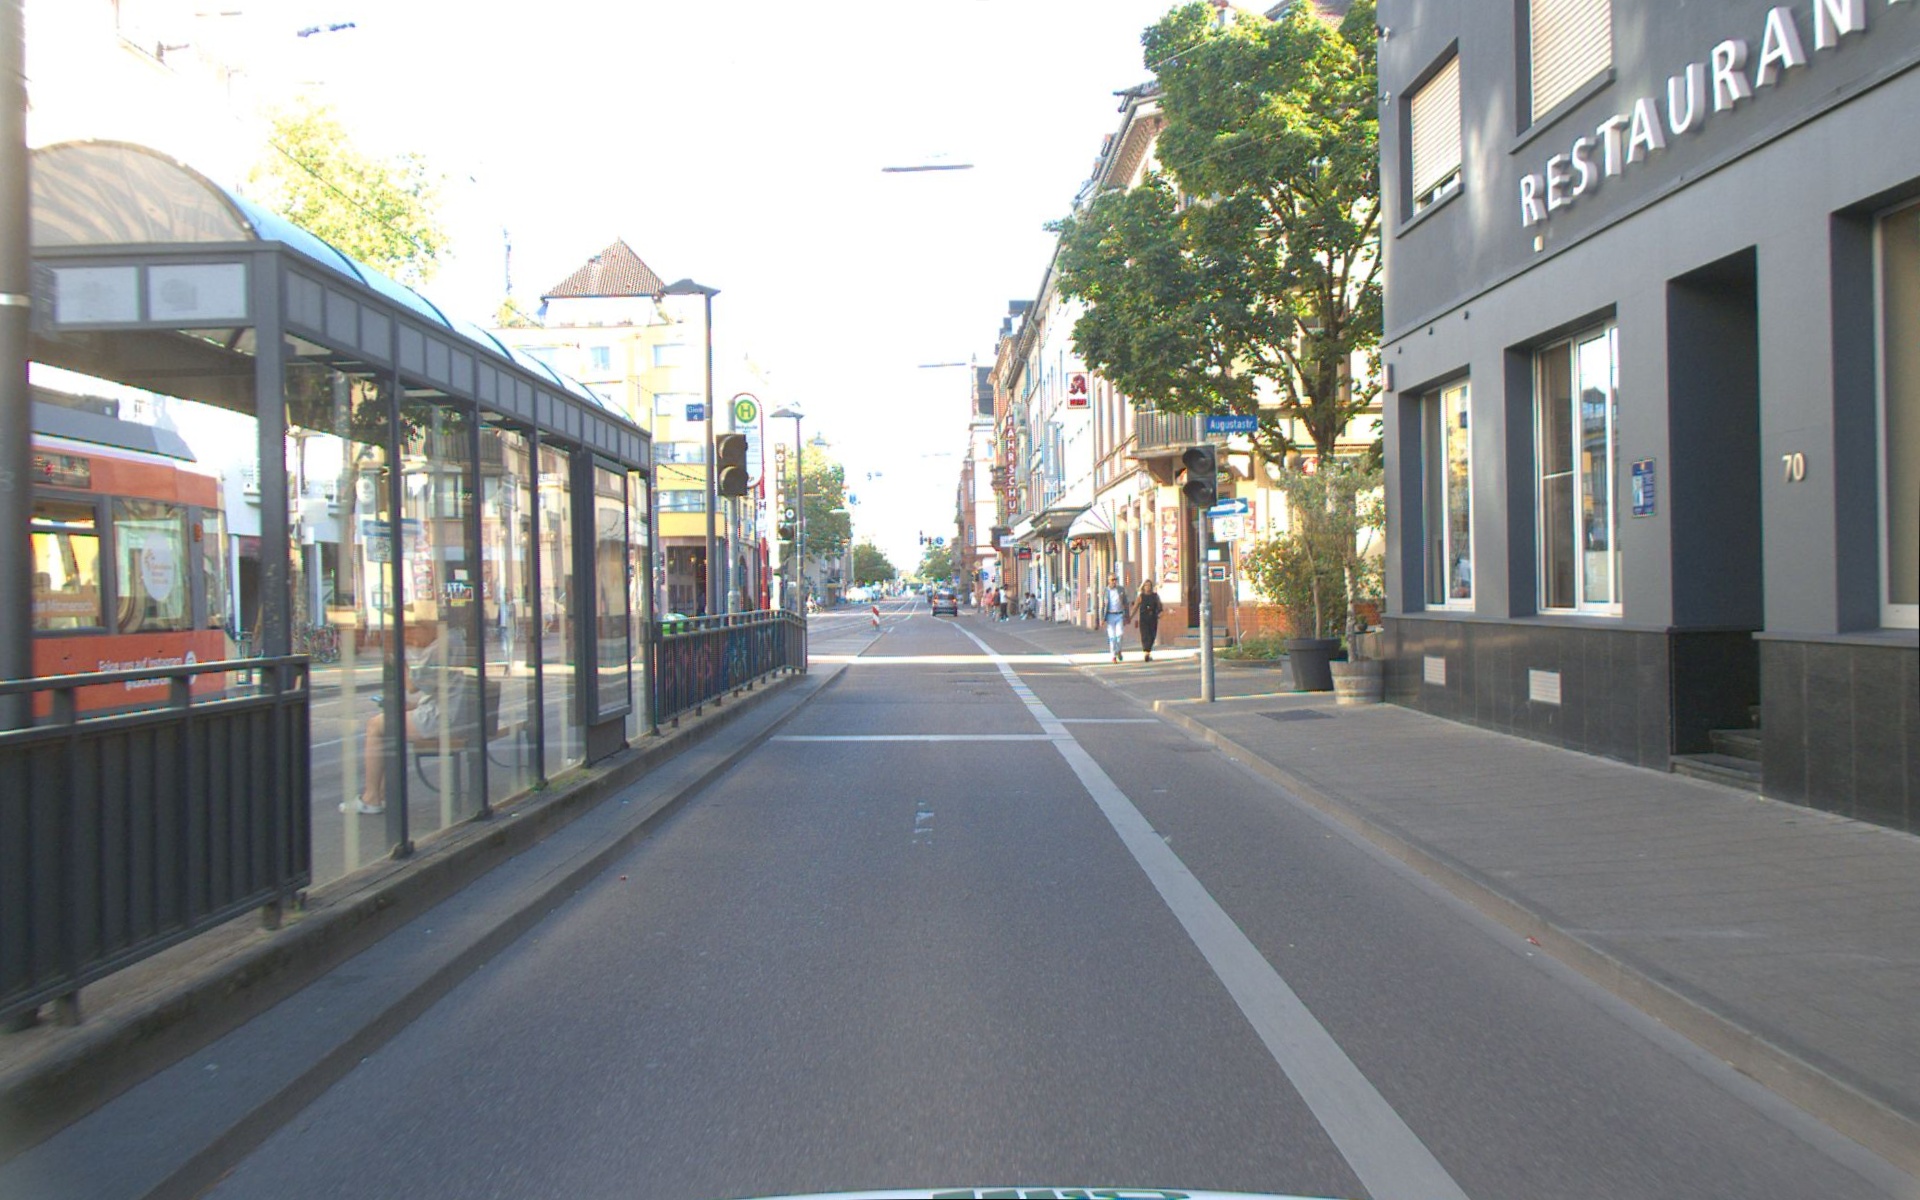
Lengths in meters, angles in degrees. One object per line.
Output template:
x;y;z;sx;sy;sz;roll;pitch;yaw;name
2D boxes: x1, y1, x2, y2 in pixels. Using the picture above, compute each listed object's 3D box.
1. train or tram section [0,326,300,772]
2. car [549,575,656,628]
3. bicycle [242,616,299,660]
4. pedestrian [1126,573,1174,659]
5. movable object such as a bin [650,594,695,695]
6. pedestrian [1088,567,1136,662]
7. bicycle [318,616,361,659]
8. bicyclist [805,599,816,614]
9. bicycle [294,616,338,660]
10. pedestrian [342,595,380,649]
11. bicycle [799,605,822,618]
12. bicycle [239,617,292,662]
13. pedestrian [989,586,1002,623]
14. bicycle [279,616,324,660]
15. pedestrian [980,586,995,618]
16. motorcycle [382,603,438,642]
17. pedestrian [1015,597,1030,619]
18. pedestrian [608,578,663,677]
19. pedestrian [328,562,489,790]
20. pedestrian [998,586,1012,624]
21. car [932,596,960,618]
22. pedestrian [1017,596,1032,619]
-9.047;-0.399;11.605;2.826;3.551;14.949;0;0;0;train or tram section
-18.392;0.051;85.330;5.001;2.621;2.128;-1;0;-1;car
-18.652;1.009;44.759;0.488;1.127;1.802;1;1;11;bicycle
3.756;0.299;32.721;0.699;1.630;0.772;-4;1;-4;pedestrian
-2.825;0.427;16.268;0.345;0.961;0.530;-2;0;-2;movable object such as a bin
2.989;0.280;32.630;0.699;1.805;0.772;-4;1;-4;pedestrian
-17.218;1.029;45.918;0.488;1.127;1.800;1;1;-1;bicycle
-13.027;0.580;144.067;0.695;1.242;0.754;-2;0;17;bicyclist
-17.557;1.028;45.092;0.488;1.127;1.800;1;1;-1;bicycle
-19.308;0.707;53.283;1.003;1.690;0.912;1;0;-29;pedestrian
-13.016;0.999;144.067;1.893;1.021;0.754;-2;0;17;bicycle
-18.291;1.027;43.582;0.489;1.127;1.271;2;1;26;bicycle
1.778;0.208;82.196;0.548;1.828;0.651;-1;0;5;pedestrian
-17.979;1.022;45.195;0.488;1.127;1.800;1;1;-1;bicycle
1.681;0.114;101.934;0.826;1.951;0.661;-1;0;-3;pedestrian
-19.365;0.802;58.232;1.760;1.320;0.605;1;0;-7;motorcycle
3.075;0.377;81.391;0.676;1.061;0.681;-1;0;3;pedestrian
-5.843;0.490;29.795;0.852;1.744;0.787;1;1;-4;pedestrian
-3.014;0.403;9.083;0.671;1.196;0.537;-2;0;0;pedestrian
2.198;0.235;81.215;0.635;1.828;0.562;-1;0;3;pedestrian
-1.002;0.479;116.178;1.953;1.474;3.999;-1;0;-1;car
3.137;0.366;80.625;0.676;1.061;0.681;-1;0;3;pedestrian
